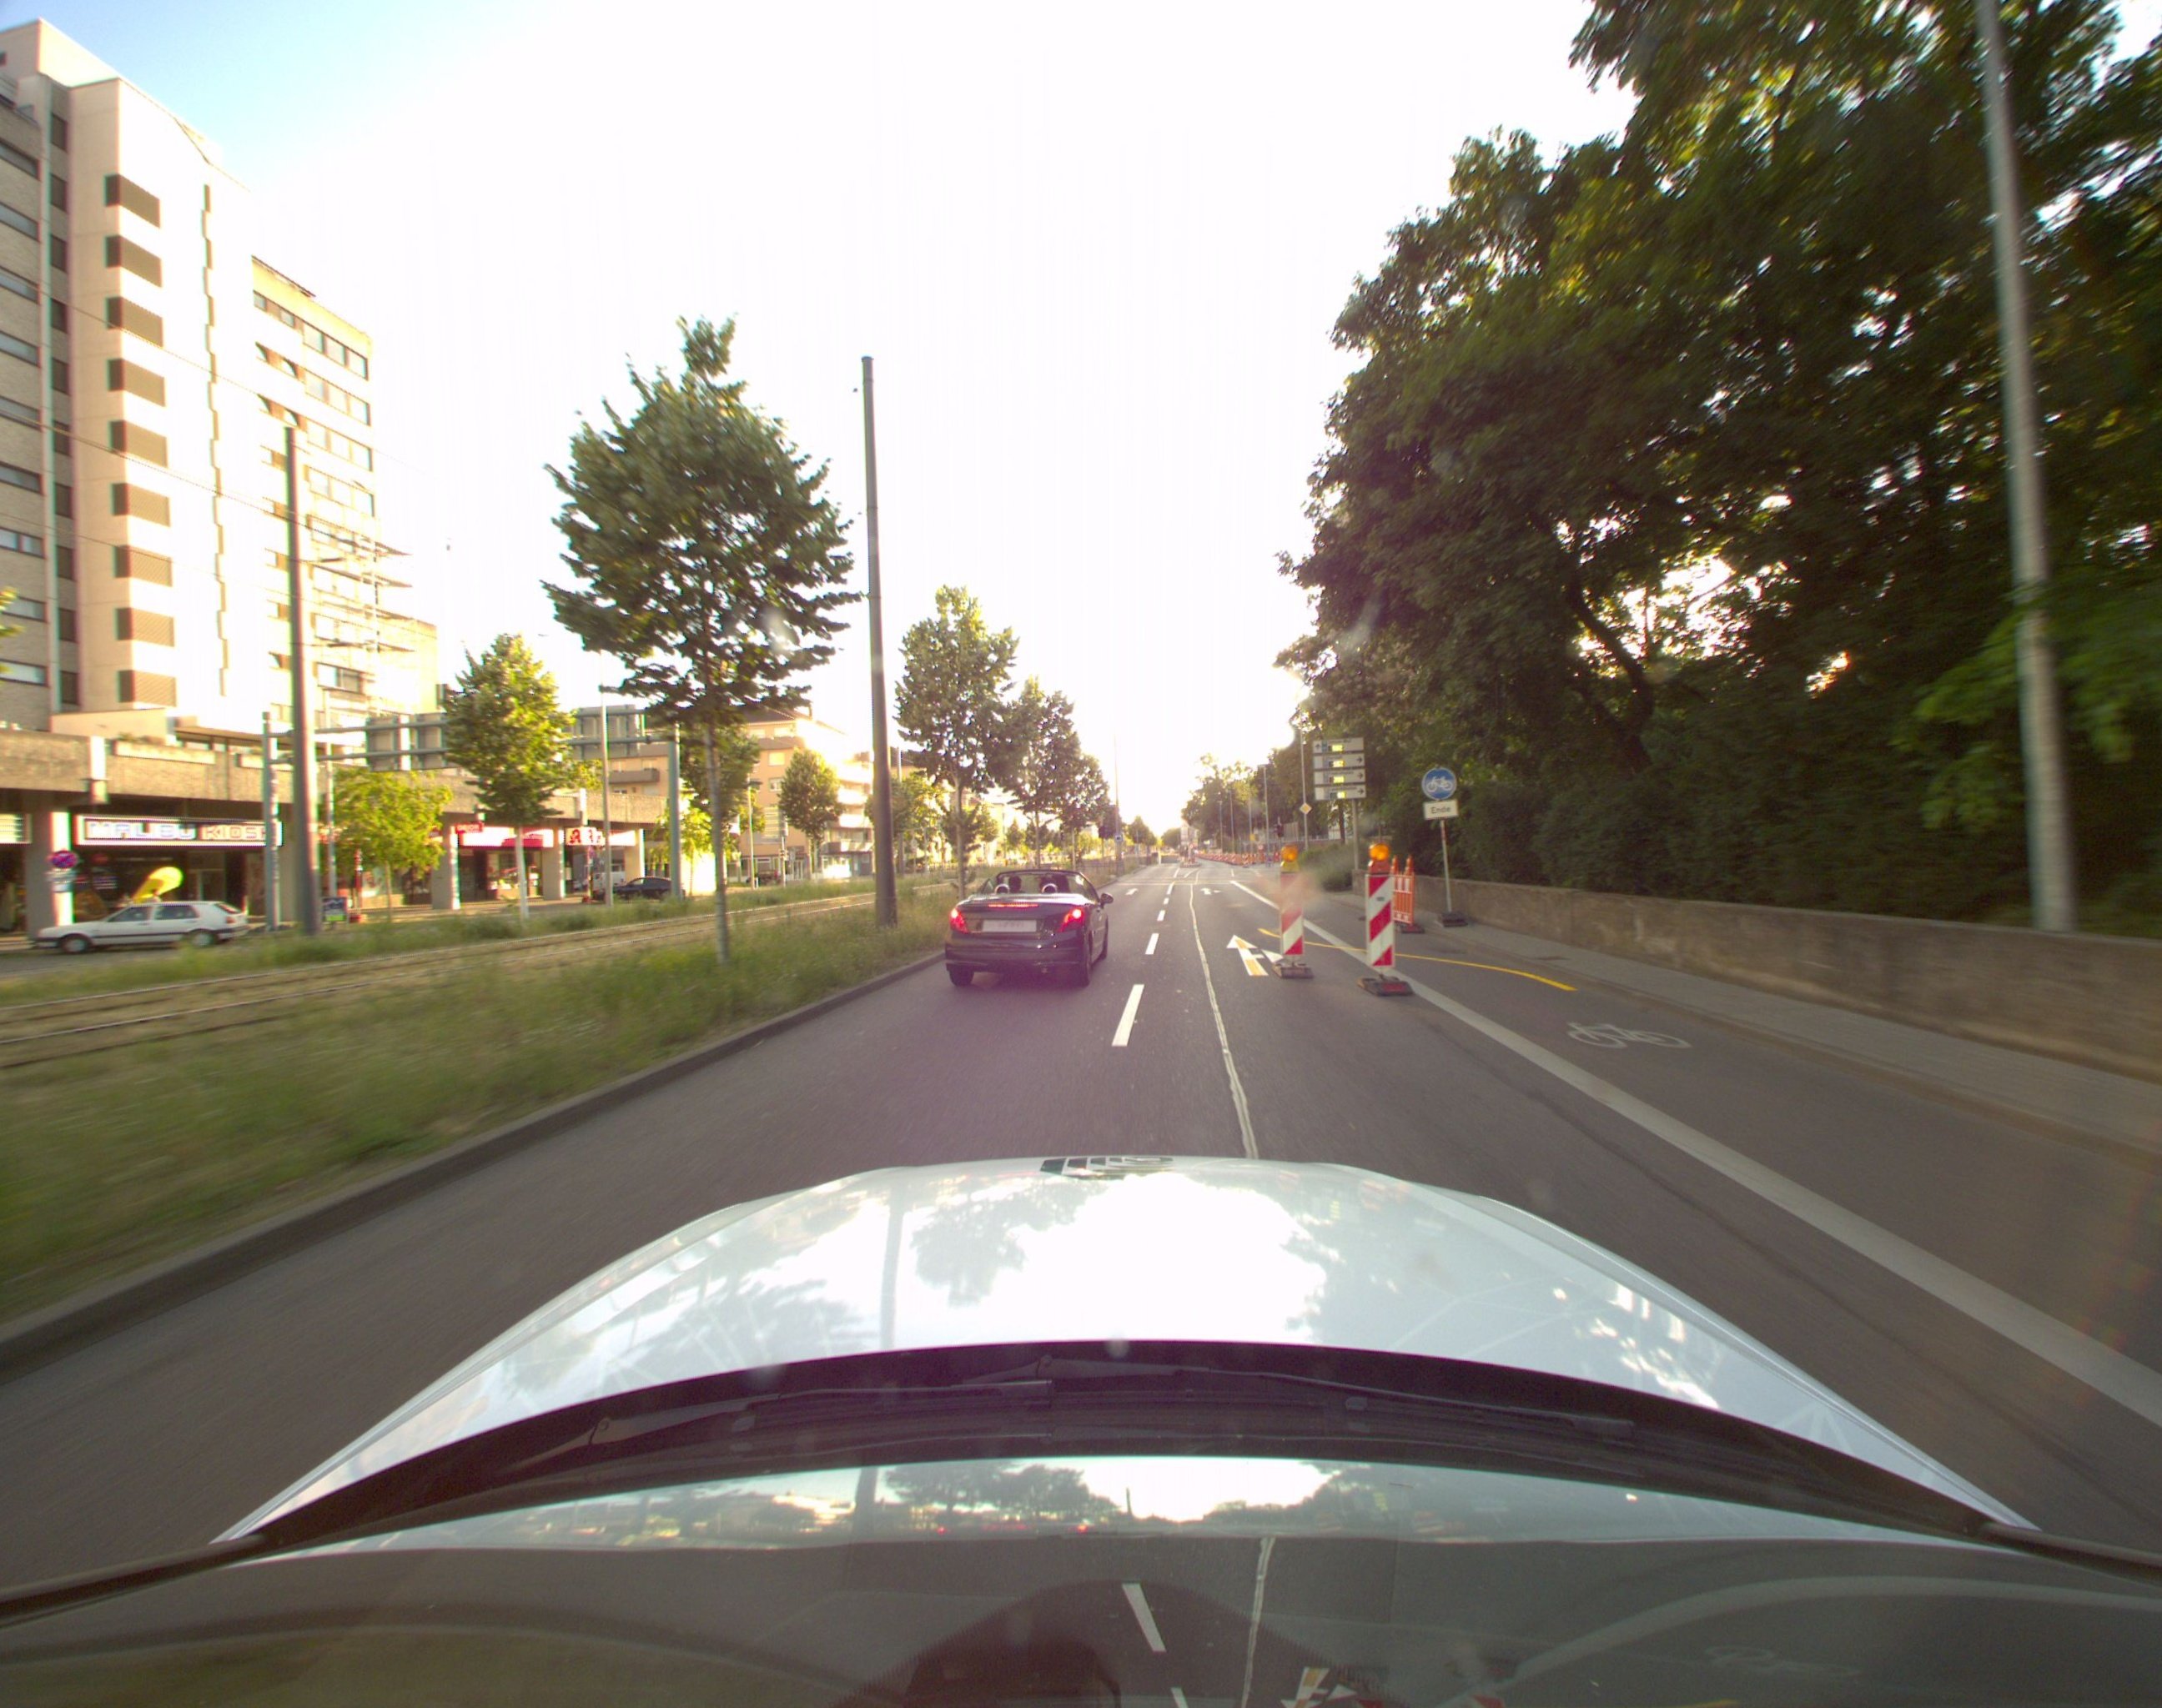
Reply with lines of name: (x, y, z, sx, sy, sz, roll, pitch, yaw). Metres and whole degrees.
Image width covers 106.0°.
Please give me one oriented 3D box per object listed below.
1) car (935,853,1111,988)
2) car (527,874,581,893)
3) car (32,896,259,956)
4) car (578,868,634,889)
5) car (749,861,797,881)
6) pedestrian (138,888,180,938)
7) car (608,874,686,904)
car: (-0.583, 0.747, 11.024, 1.710, 1.449, 3.908, -1, 1, 6)
car: (-54.466, 3.012, 84.203, 4.307, 1.755, 2.120, -2, 0, 6)
car: (-28.131, 2.121, 24.709, 4.146, 1.436, 1.807, -1, 0, -32)
car: (-48.771, 2.523, 83.723, 4.464, 1.990, 2.170, -2, 0, 6)
car: (-31.605, 1.781, 83.713, 3.914, 1.845, 2.195, -3, 0, 6)
pedestrian: (-31.661, 2.027, 27.970, 0.660, 1.661, 0.663, 1, 0, 8)
car: (-24.788, 1.971, 46.527, 3.746, 1.450, 1.725, -2, -1, -35)
